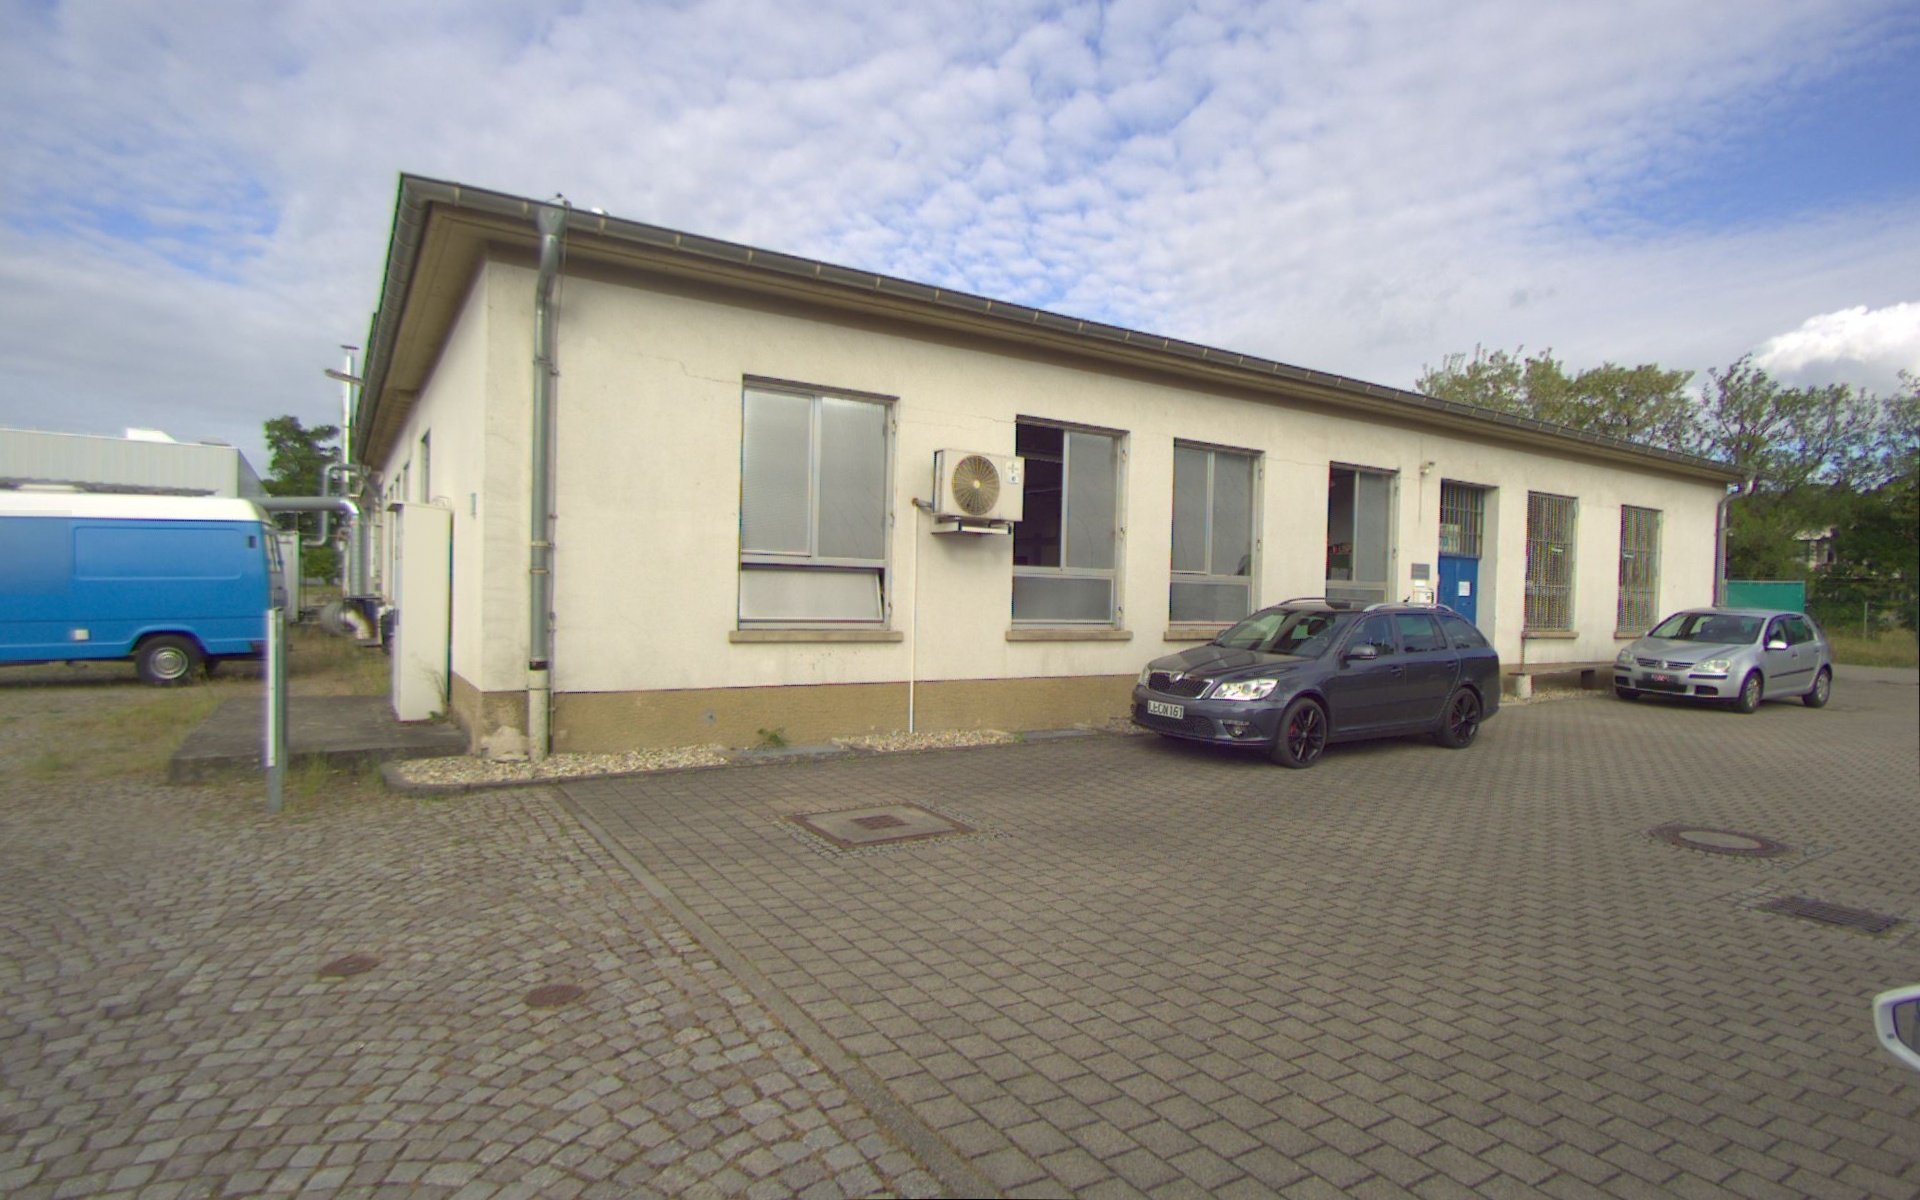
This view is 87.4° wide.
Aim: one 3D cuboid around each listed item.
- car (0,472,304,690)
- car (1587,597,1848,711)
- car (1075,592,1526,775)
[{"bbox_3d":[-11.787,-0.244,13.030,5.333,2.617,1.984,0,1,-30],"label":"car"},{"bbox_3d":[11.924,0.763,15.748,4.322,1.458,1.912,1,3,-34],"label":"car"},{"bbox_3d":[3.624,0.697,10.341,4.761,1.480,1.912,1,1,-34],"label":"car"}]
